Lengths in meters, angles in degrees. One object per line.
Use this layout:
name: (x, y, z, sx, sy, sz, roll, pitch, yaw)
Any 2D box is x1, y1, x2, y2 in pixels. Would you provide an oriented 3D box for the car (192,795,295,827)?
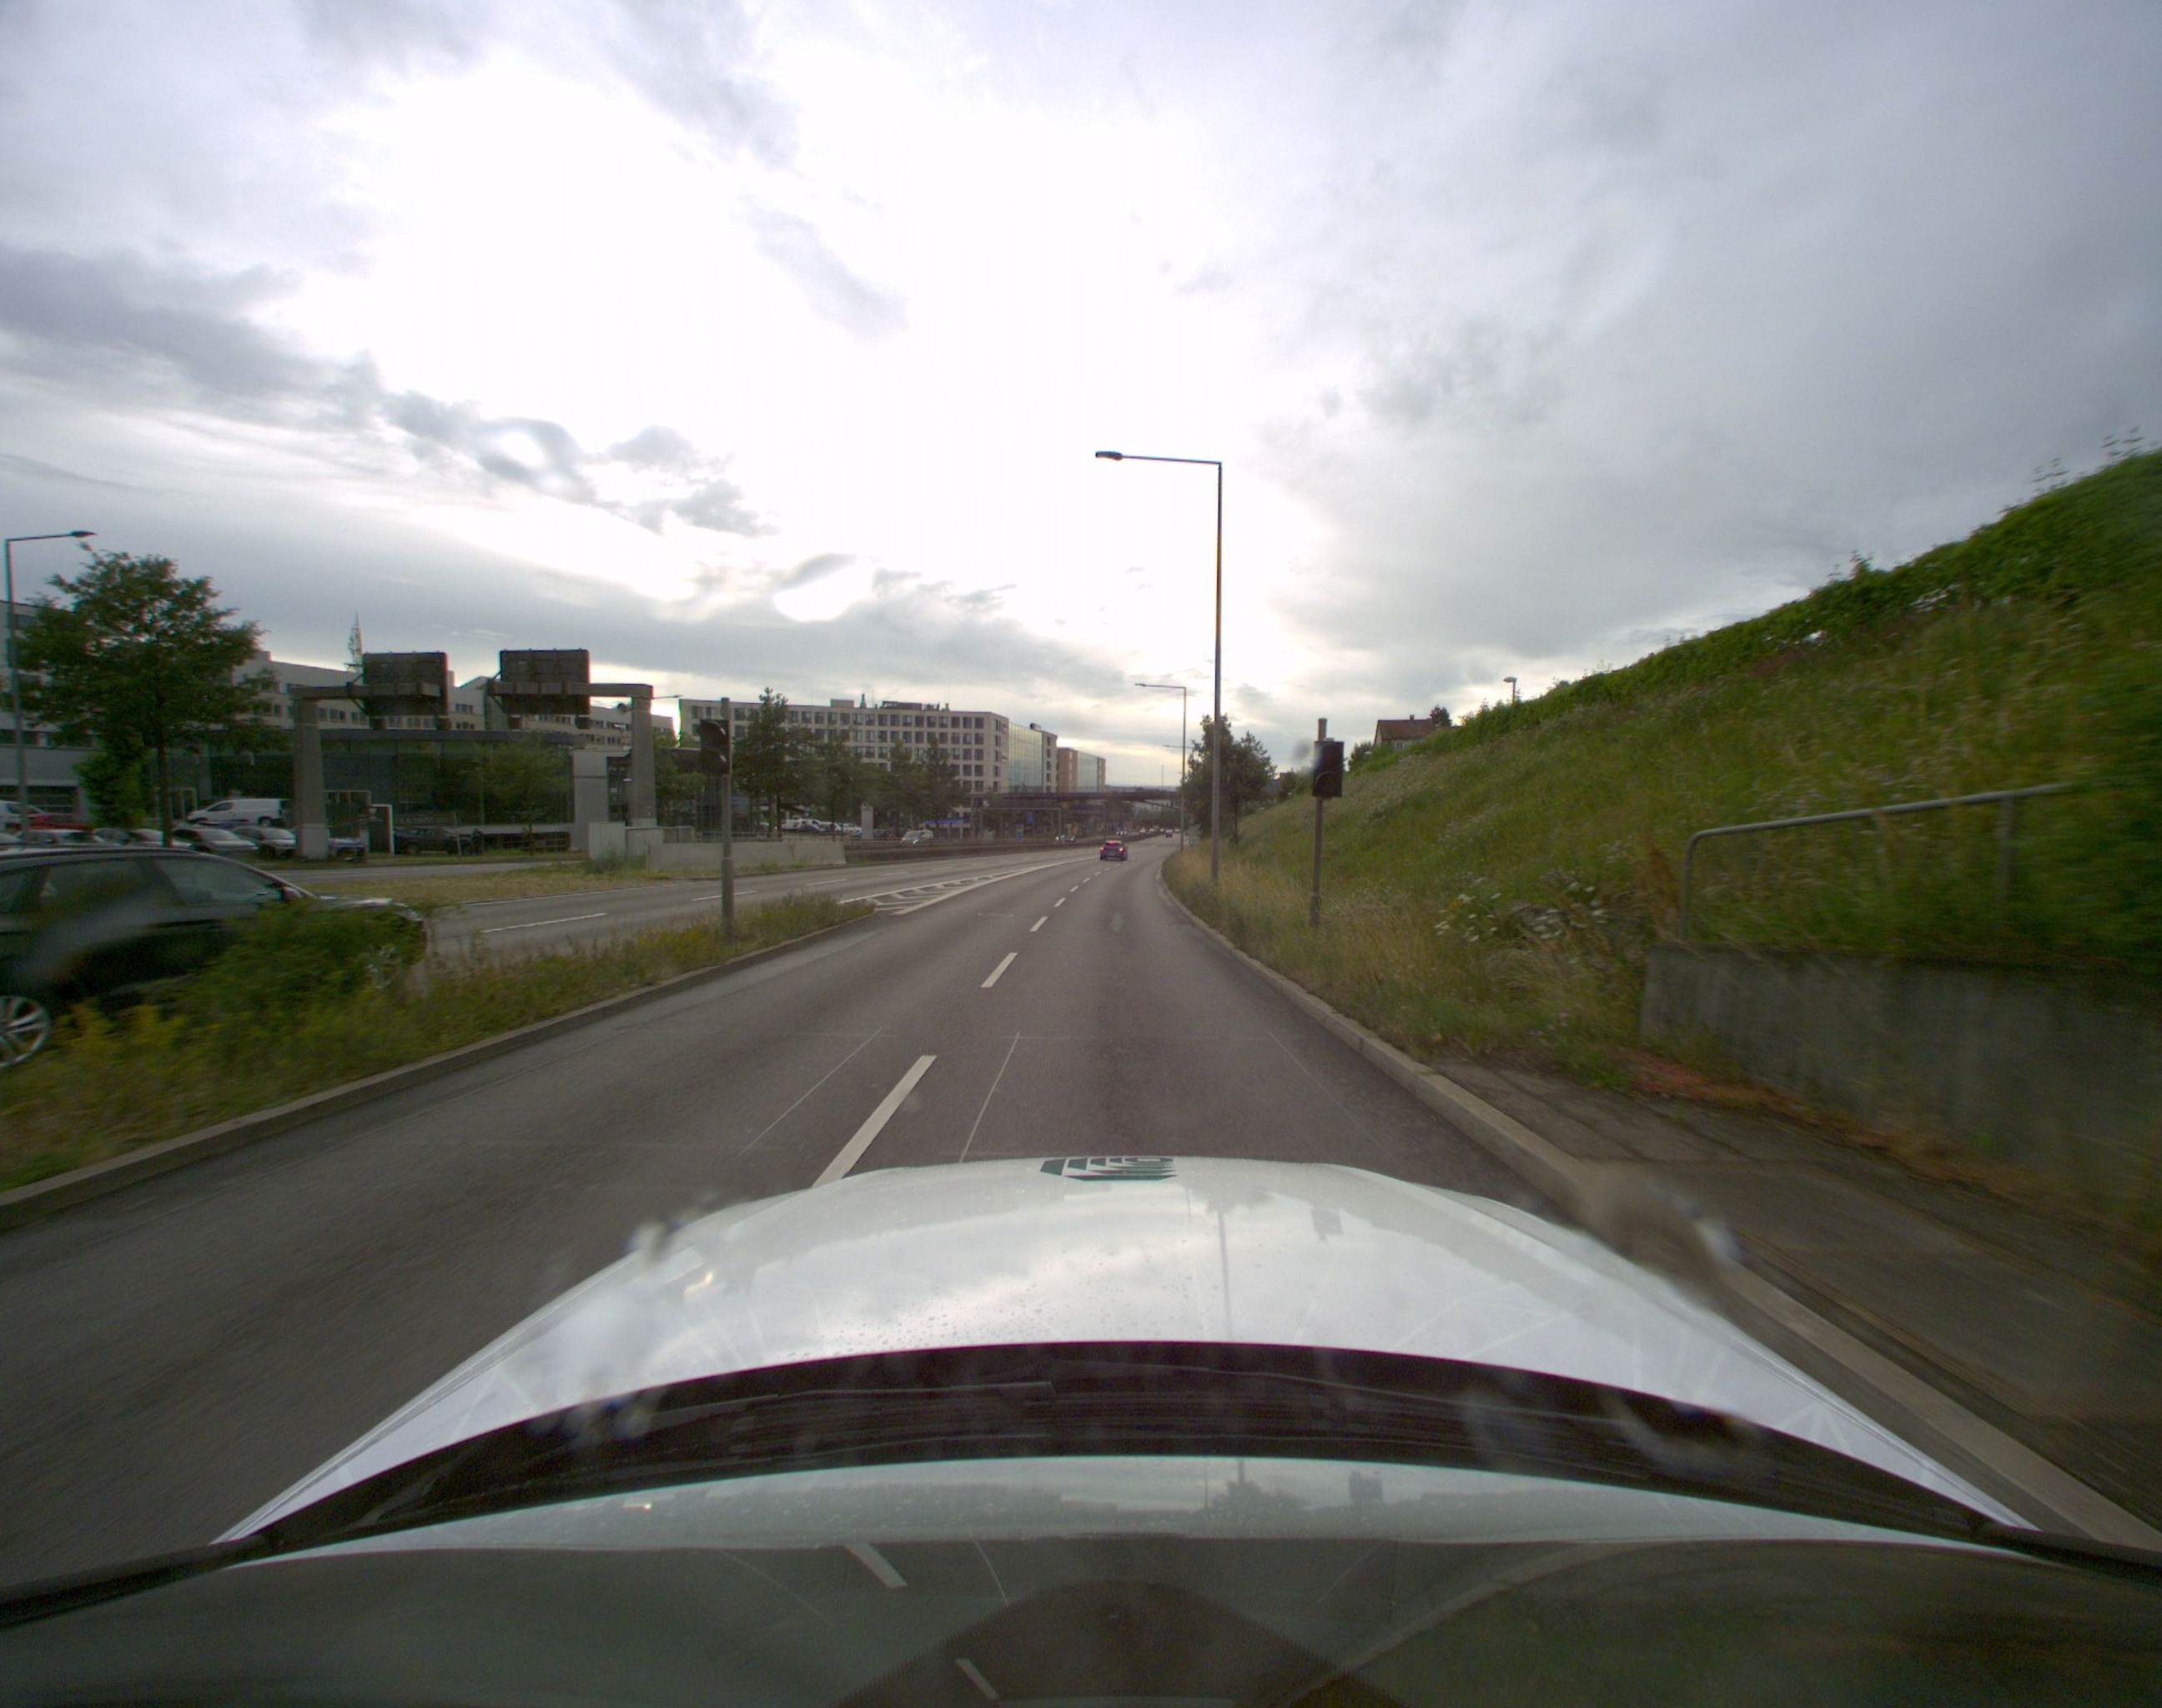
car: (-52.458, -2.724, 51.109, 4.002, 1.781, 1.911, 1, 4, -22)

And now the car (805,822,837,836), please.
car: (-38.265, -3.648, 119.859, 3.959, 2.013, 2.008, 2, 1, 13)

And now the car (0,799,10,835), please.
car: (-59.216, -1.934, 42.175, 1.979, 1.880, 4.017, 4, 4, 14)

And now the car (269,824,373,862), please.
car: (-40.032, -0.629, 42.952, 3.963, 1.683, 1.929, 3, 4, 9)

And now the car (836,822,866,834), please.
car: (-36.740, -4.182, 130.079, 3.959, 1.650, 2.008, 4, 4, 13)

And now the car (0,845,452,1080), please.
car: (-8.500, 0.772, 7.243, 1.742, 1.617, 4.757, 2, 1, 6)

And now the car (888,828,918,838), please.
car: (-27.449, -3.284, 125.675, 3.962, 1.353, 1.855, 3, 2, 10)

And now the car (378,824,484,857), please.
car: (-38.688, -0.842, 48.598, 1.900, 1.683, 4.530, 5, 5, 27)

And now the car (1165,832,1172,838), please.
car: (26.158, -5.717, 243.534, 1.854, 1.749, 4.008, 3, 4, 5)

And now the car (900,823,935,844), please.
car: (-15.465, -1.989, 77.426, 1.983, 1.749, 4.011, 3, 4, 8)

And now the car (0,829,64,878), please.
car: (-42.008, -0.072, 31.399, 3.977, 1.599, 1.704, 3, 4, 9)

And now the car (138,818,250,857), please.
car: (-44.973, -0.876, 41.354, 3.963, 1.683, 1.929, 3, 4, 9)

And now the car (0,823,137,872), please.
car: (-41.668, -0.290, 33.455, 3.963, 1.683, 1.929, 3, 4, 9)

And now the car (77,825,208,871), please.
car: (-41.263, -0.298, 35.852, 3.963, 1.683, 1.929, 3, 4, 9)

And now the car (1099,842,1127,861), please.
car: (2.467, -0.190, 61.486, 1.739, 1.420, 3.487, 0, 1, 8)

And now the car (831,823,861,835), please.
car: (-36.766, -3.943, 127.507, 3.959, 1.650, 2.008, 4, 4, 13)

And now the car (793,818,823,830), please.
car: (-42.947, -4.703, 128.039, 3.968, 1.650, 1.825, 3, 4, 5)

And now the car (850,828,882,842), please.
car: (-29.914, -2.626, 113.325, 4.002, 1.650, 1.987, 2, 2, -22)

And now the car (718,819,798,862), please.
car: (-13.993, -0.640, 35.475, 1.679, 1.589, 3.557, 3, 4, 7)

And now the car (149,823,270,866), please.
car: (-40.890, -0.469, 38.248, 3.963, 1.683, 1.929, 3, 4, 9)

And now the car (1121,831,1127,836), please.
car: (13.290, -6.295, 250.205, 1.509, 1.419, 3.487, 1, 2, 9)

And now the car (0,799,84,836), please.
car: (-56.685, -1.913, 42.481, 1.979, 1.881, 5.559, 4, 3, 14)

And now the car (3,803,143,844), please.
car: (-51.247, -1.603, 41.523, 1.888, 1.880, 4.017, 4, 4, 14)

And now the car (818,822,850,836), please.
car: (-37.028, -3.754, 122.091, 3.959, 1.875, 2.008, 4, 4, 13)

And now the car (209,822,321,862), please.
car: (-40.484, -0.614, 40.461, 3.963, 1.683, 1.929, 3, 4, 9)

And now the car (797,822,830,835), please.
car: (-38.502, -3.653, 117.177, 3.966, 1.650, 2.005, 3, 4, 6)

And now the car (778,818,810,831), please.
car: (-42.892, -4.392, 121.672, 3.966, 1.650, 2.005, 3, 4, 6)
